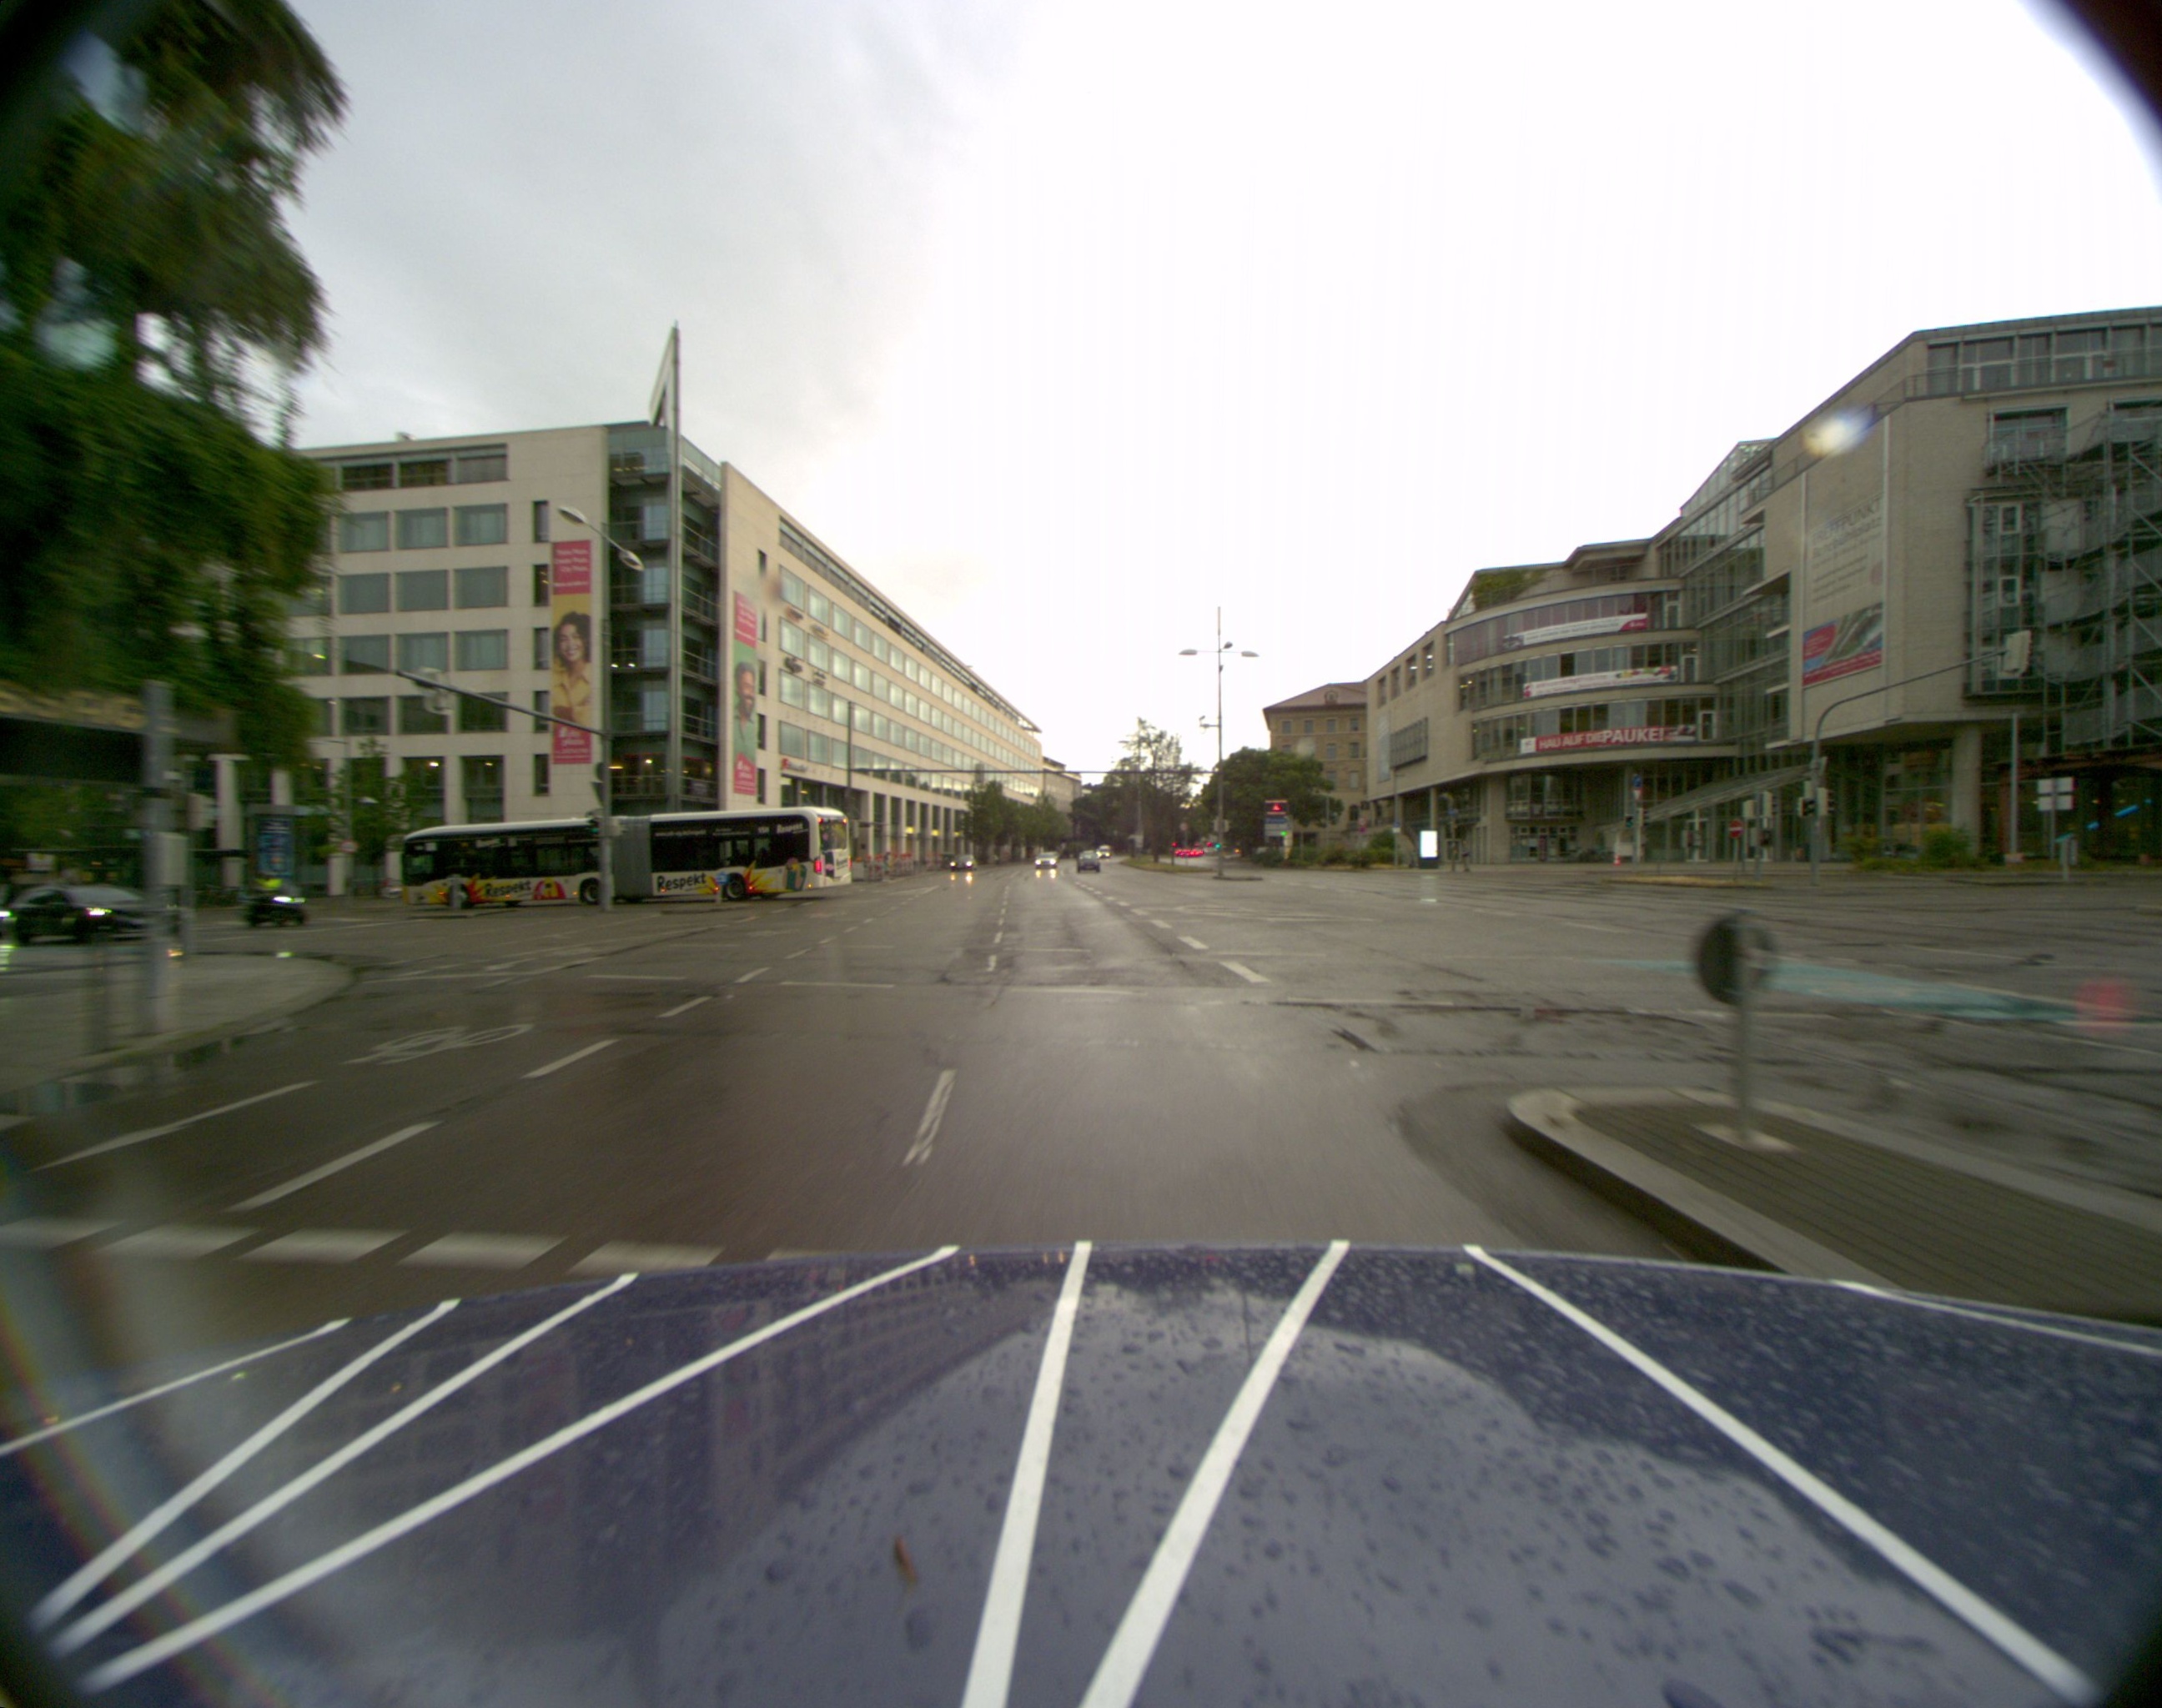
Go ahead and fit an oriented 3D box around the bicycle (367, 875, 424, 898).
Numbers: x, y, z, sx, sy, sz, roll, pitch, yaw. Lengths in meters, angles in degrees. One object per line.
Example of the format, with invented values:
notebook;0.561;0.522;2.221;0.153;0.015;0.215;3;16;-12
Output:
bicycle;-36.204;1.698;40.166;0.489;1.092;2.350;-1;0;12

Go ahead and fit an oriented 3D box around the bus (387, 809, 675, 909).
bus;-21.806;0.233;30.259;10.307;3.568;2.688;-1;1;9

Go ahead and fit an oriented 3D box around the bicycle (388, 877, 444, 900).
bicycle;-34.751;1.795;39.739;0.489;1.092;2.350;0;1;12

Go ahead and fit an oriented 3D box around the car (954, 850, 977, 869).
car;-9.842;0.420;65.117;1.740;1.543;4.667;-1;1;-6

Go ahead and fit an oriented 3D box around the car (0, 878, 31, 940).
car;-33.357;1.675;21.957;4.767;1.748;1.830;-2;1;14

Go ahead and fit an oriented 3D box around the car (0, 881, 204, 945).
car;-26.576;1.581;20.640;4.195;1.490;1.830;-2;1;14

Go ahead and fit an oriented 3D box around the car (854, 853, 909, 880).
car;-12.111;0.723;46.431;1.738;1.543;4.672;-1;1;5

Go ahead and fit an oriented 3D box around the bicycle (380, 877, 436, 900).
bicycle;-35.257;1.777;39.841;0.489;1.092;2.350;-1;0;12

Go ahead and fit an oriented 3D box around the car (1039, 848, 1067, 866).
car;-2.540;0.236;69.454;1.978;1.543;4.672;-1;1;5

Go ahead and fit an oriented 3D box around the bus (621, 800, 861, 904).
bus;-12.796;-0.036;28.813;8.075;3.568;2.689;-1;1;10

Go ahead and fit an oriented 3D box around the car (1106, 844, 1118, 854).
car;6.301;-1.080;153.335;1.997;2.002;4.003;-1;0;10

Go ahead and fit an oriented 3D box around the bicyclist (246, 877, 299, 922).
bicyclist;-24.740;1.386;23.250;0.742;1.328;0.797;-2;1;15

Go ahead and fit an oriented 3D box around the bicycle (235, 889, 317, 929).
bicycle;-24.588;1.666;23.202;2.086;1.129;0.810;-2;1;16

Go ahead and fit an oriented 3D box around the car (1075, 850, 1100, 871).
car;0.424;0.444;54.876;1.724;1.424;3.999;-1;1;0
